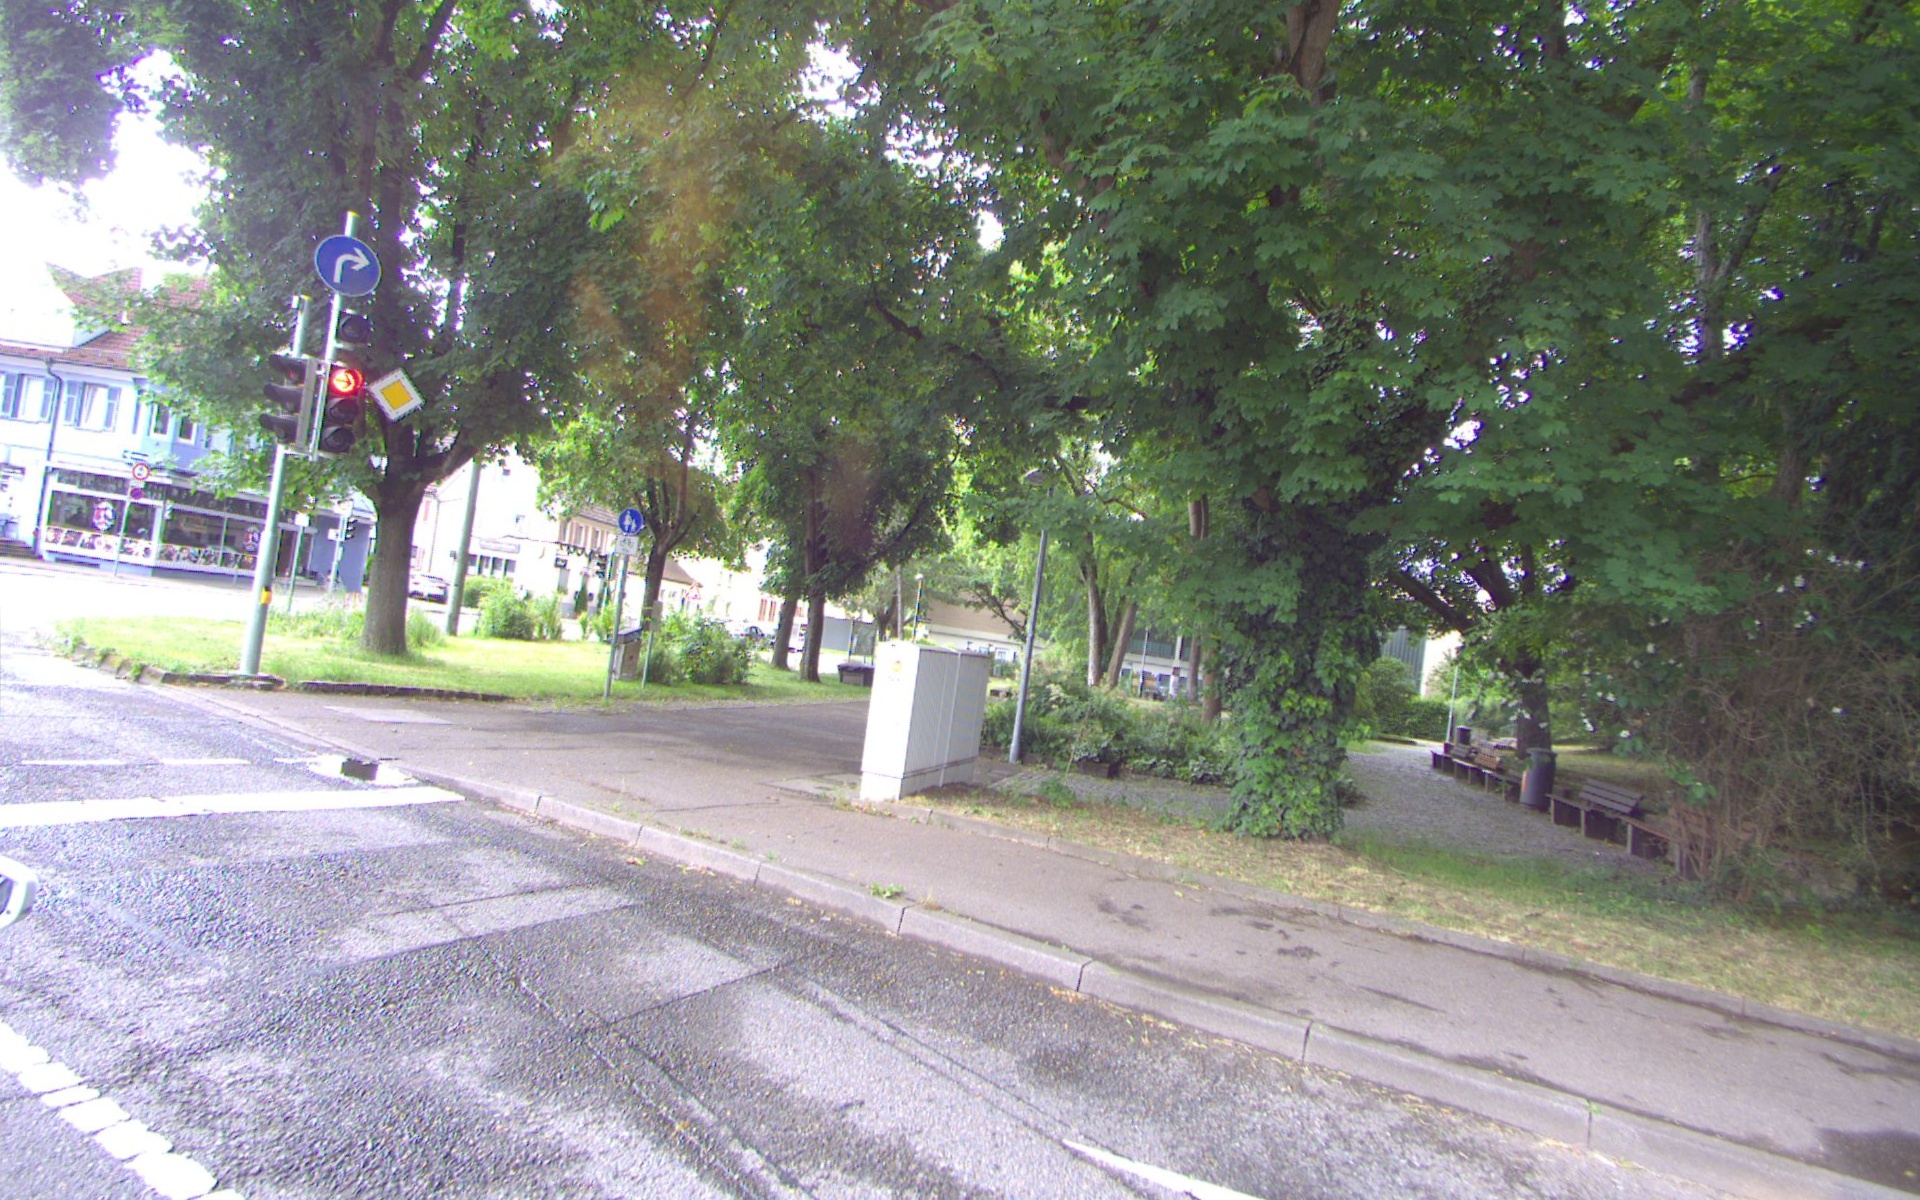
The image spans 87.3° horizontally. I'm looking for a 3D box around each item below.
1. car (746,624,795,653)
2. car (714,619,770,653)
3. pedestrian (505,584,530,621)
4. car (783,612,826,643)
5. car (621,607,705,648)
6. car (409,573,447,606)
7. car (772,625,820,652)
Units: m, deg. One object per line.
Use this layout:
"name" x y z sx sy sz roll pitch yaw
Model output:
"car" -11.235 2.323 59.950 1.706 1.406 3.746 7 -2 6
"car" -11.868 1.999 55.000 1.838 1.589 4.004 7 -2 4
"pedestrian" -22.287 0.142 50.663 0.743 1.716 0.647 7 -1 3
"car" -14.567 2.613 94.505 2.292 2.418 5.967 7 -2 6
"car" -13.174 1.282 44.967 1.864 1.472 4.553 7 -3 6
"car" -28.106 -0.548 53.173 1.554 1.478 3.417 9 -3 -27
"car" -10.760 2.571 66.441 1.888 1.472 4.408 7 -3 6
